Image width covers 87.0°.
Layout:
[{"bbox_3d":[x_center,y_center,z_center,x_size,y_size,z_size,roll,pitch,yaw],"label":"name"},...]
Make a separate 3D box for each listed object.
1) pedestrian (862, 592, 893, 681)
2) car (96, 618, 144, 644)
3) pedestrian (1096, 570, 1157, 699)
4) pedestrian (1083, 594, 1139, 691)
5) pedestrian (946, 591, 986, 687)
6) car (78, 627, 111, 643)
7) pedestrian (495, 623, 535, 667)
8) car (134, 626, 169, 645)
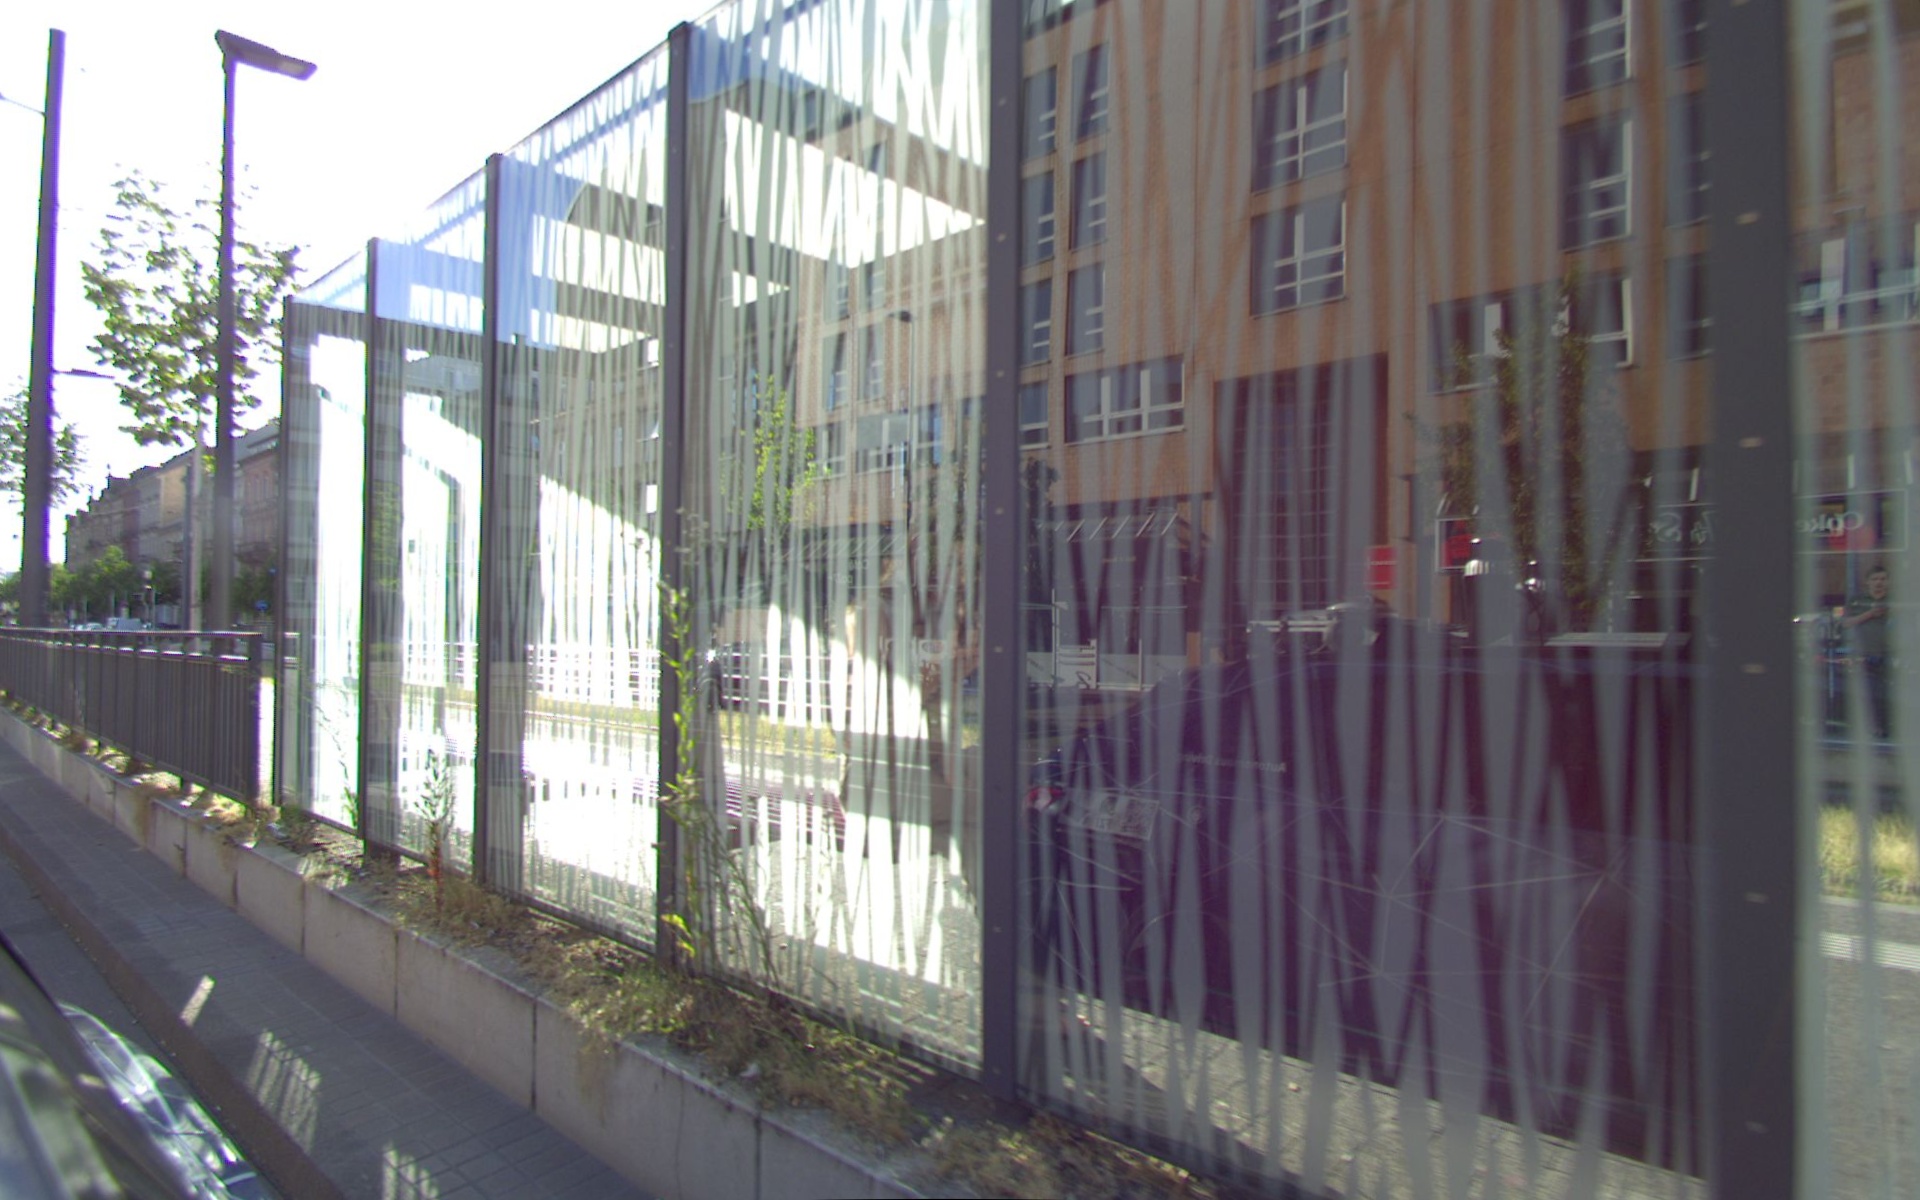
[{"bbox_3d":[-1.566,0.689,19.308,0.416,1.661,0.374,-2,-1,42],"label":"pedestrian"},{"bbox_3d":[-65.462,2.406,78.828,4.577,1.894,1.974,-1,0,38],"label":"car"},{"bbox_3d":[2.288,0.462,13.870,0.541,1.708,0.633,-2,0,42],"label":"pedestrian"},{"bbox_3d":[2.346,0.647,15.698,0.642,1.470,0.533,-2,0,42],"label":"pedestrian"},{"bbox_3d":[0.107,0.663,17.533,0.553,1.633,0.374,-2,-1,42],"label":"pedestrian"},{"bbox_3d":[-93.172,3.747,108.881,4.884,1.710,1.973,-1,0,40],"label":"car"},{"bbox_3d":[-12.114,1.226,27.557,0.721,1.177,0.713,-1,-4,41],"label":"pedestrian"},{"bbox_3d":[-75.608,3.345,94.660,4.544,1.671,1.917,-2,0,43],"label":"car"}]
